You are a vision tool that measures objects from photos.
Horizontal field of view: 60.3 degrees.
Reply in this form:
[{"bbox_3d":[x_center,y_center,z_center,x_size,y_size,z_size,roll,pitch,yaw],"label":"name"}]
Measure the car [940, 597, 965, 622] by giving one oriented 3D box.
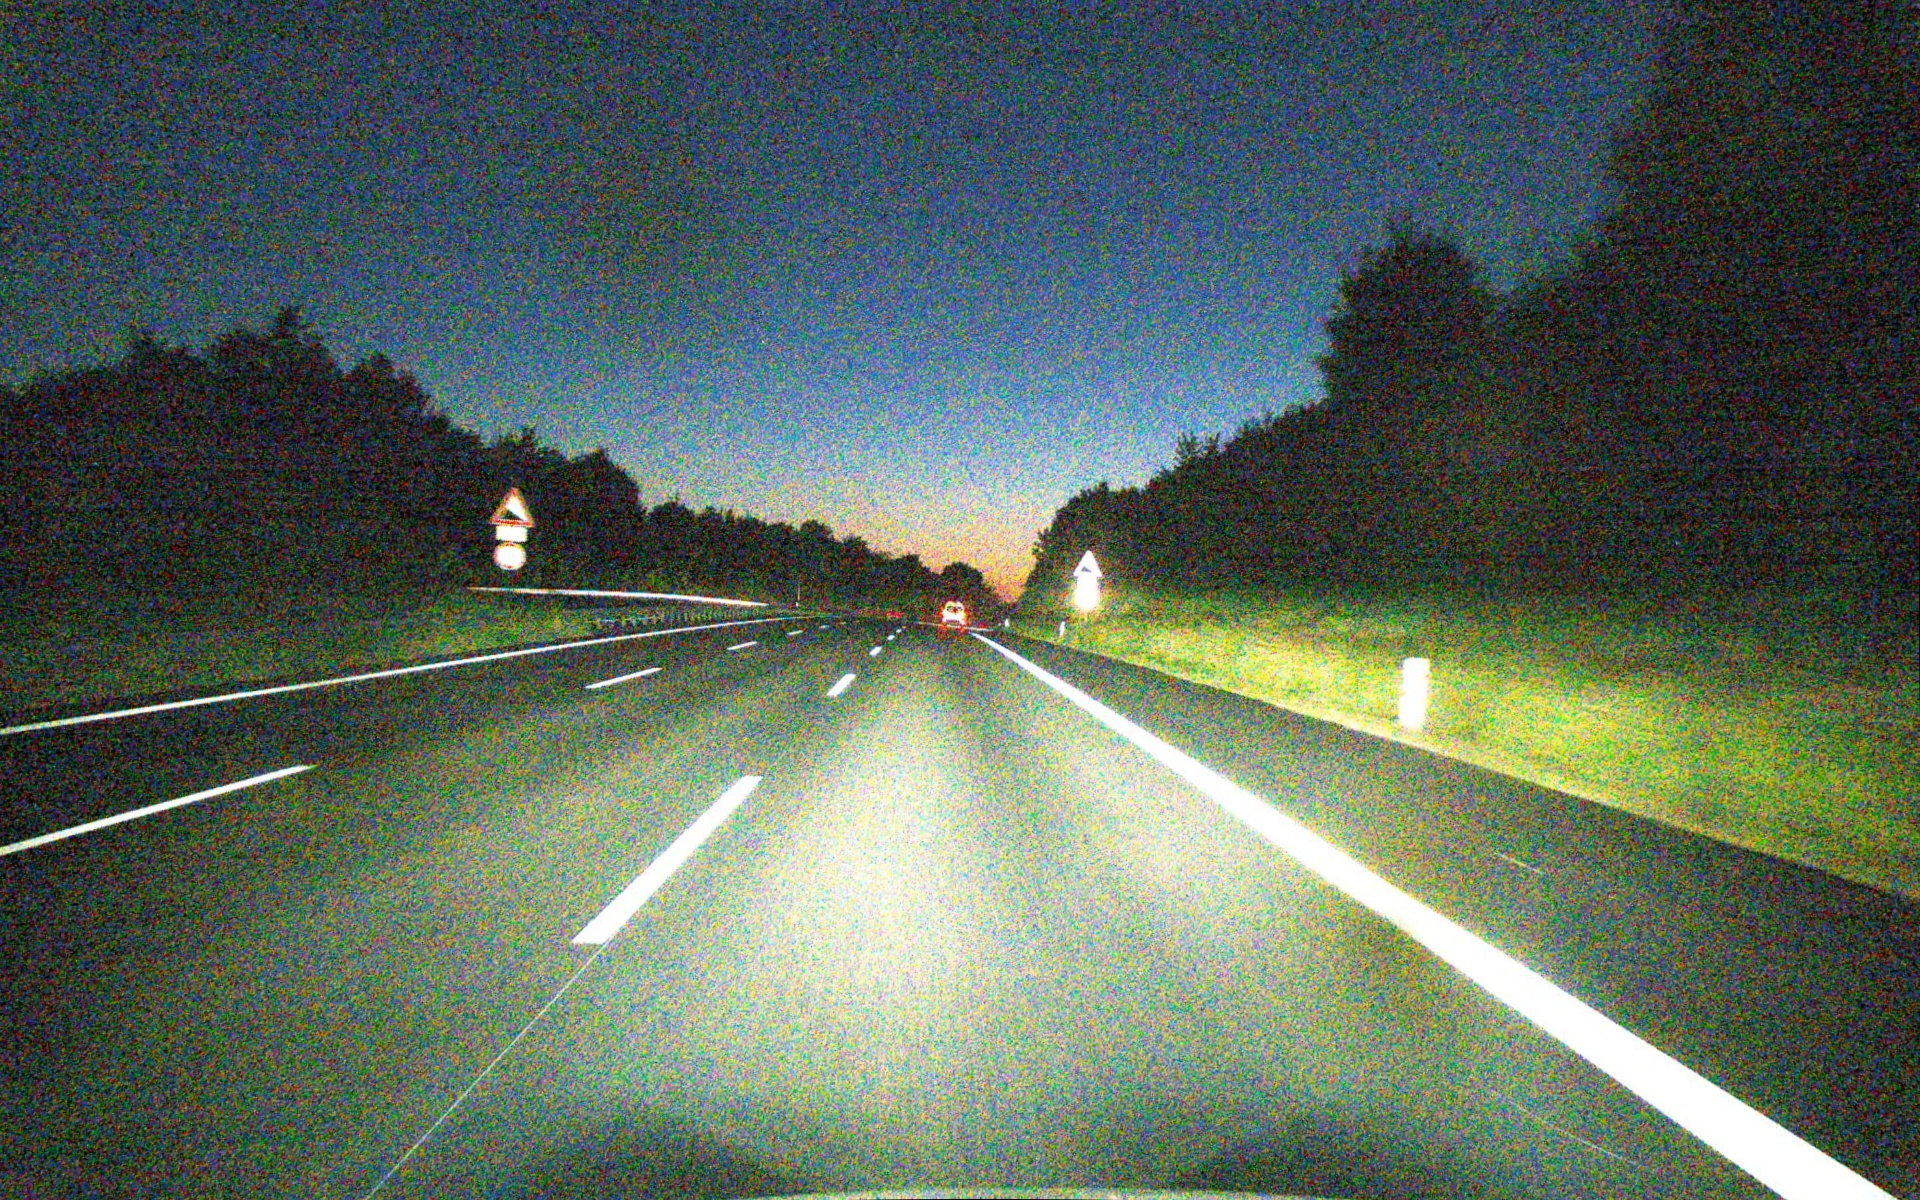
[{"bbox_3d":[-0.791,0.996,175.179,2.476,2.598,6.051,2,0,1],"label":"car"}]
